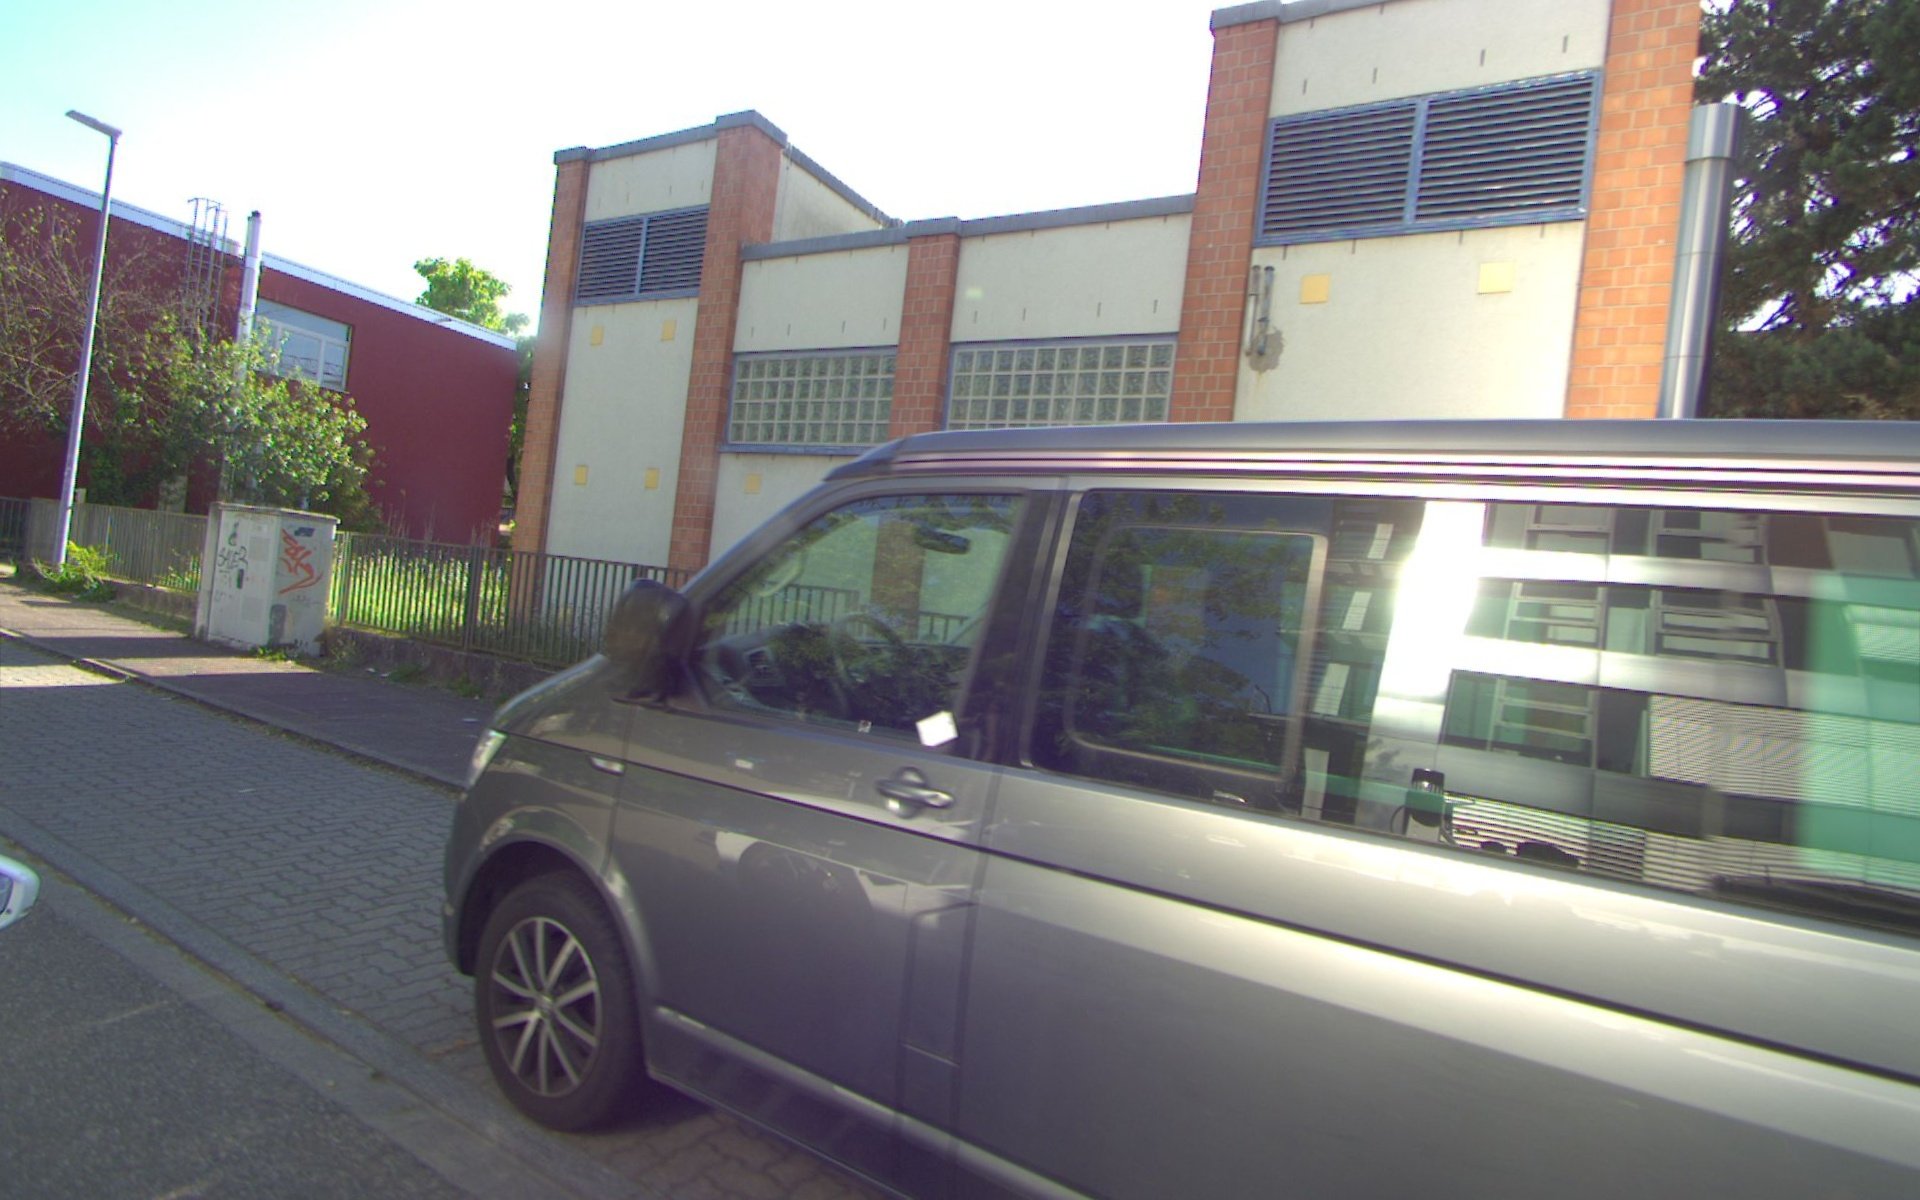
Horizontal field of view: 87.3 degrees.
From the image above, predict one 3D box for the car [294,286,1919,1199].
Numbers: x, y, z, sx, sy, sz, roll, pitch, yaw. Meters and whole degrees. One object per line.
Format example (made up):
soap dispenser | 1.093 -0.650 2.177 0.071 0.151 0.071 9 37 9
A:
car | 0.534 0.584 2.725 4.745 2.047 1.945 6 0 31
